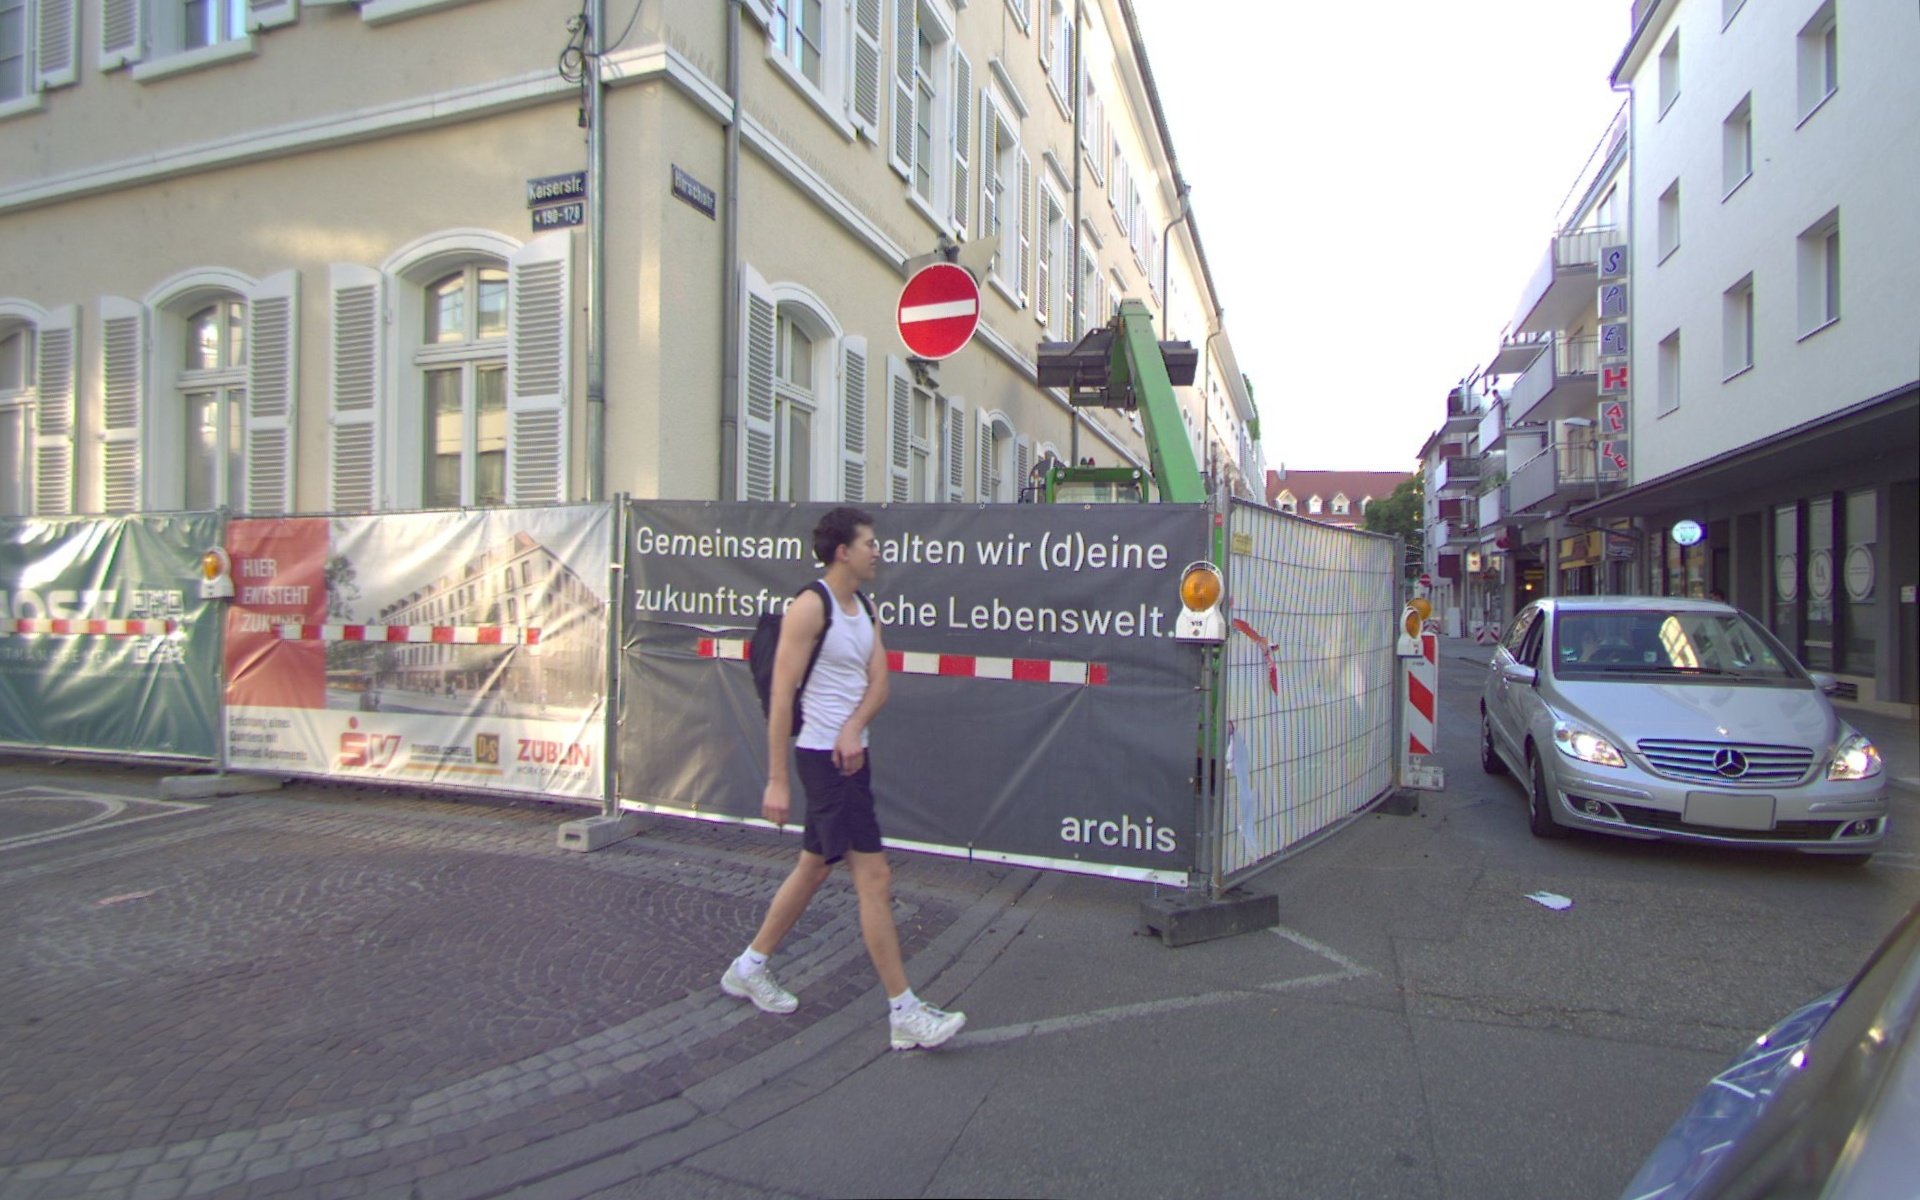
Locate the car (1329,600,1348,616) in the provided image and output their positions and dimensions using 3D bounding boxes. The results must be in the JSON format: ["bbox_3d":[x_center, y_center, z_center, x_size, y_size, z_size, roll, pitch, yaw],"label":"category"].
[{"bbox_3d":[33.632,0.715,90.059,1.521,1.342,3.332,0,0,19],"label":"car"}]

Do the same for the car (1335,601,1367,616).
[{"bbox_3d":[45.677,0.954,118.250,1.792,1.486,4.333,1,2,-2],"label":"car"}]

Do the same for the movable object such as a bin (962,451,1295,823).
[{"bbox_3d":[1.995,0.265,10.367,2.581,2.875,4.420,1,0,20],"label":"movable object such as a bin"}]

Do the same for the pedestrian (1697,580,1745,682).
[{"bbox_3d":[14.156,0.563,18.837,0.524,1.858,0.560,0,-1,14],"label":"pedestrian"}]

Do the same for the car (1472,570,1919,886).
[{"bbox_3d":[5.100,0.709,7.572,1.784,1.638,4.242,1,-1,21],"label":"car"}]

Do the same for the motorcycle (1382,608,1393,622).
[{"bbox_3d":[45.038,1.581,106.653,0.852,1.370,1.939,0,-1,29],"label":"motorcycle"}]

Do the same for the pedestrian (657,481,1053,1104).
[{"bbox_3d":[-0.364,0.541,3.602,1.064,1.841,0.797,4,2,29],"label":"pedestrian"}]
